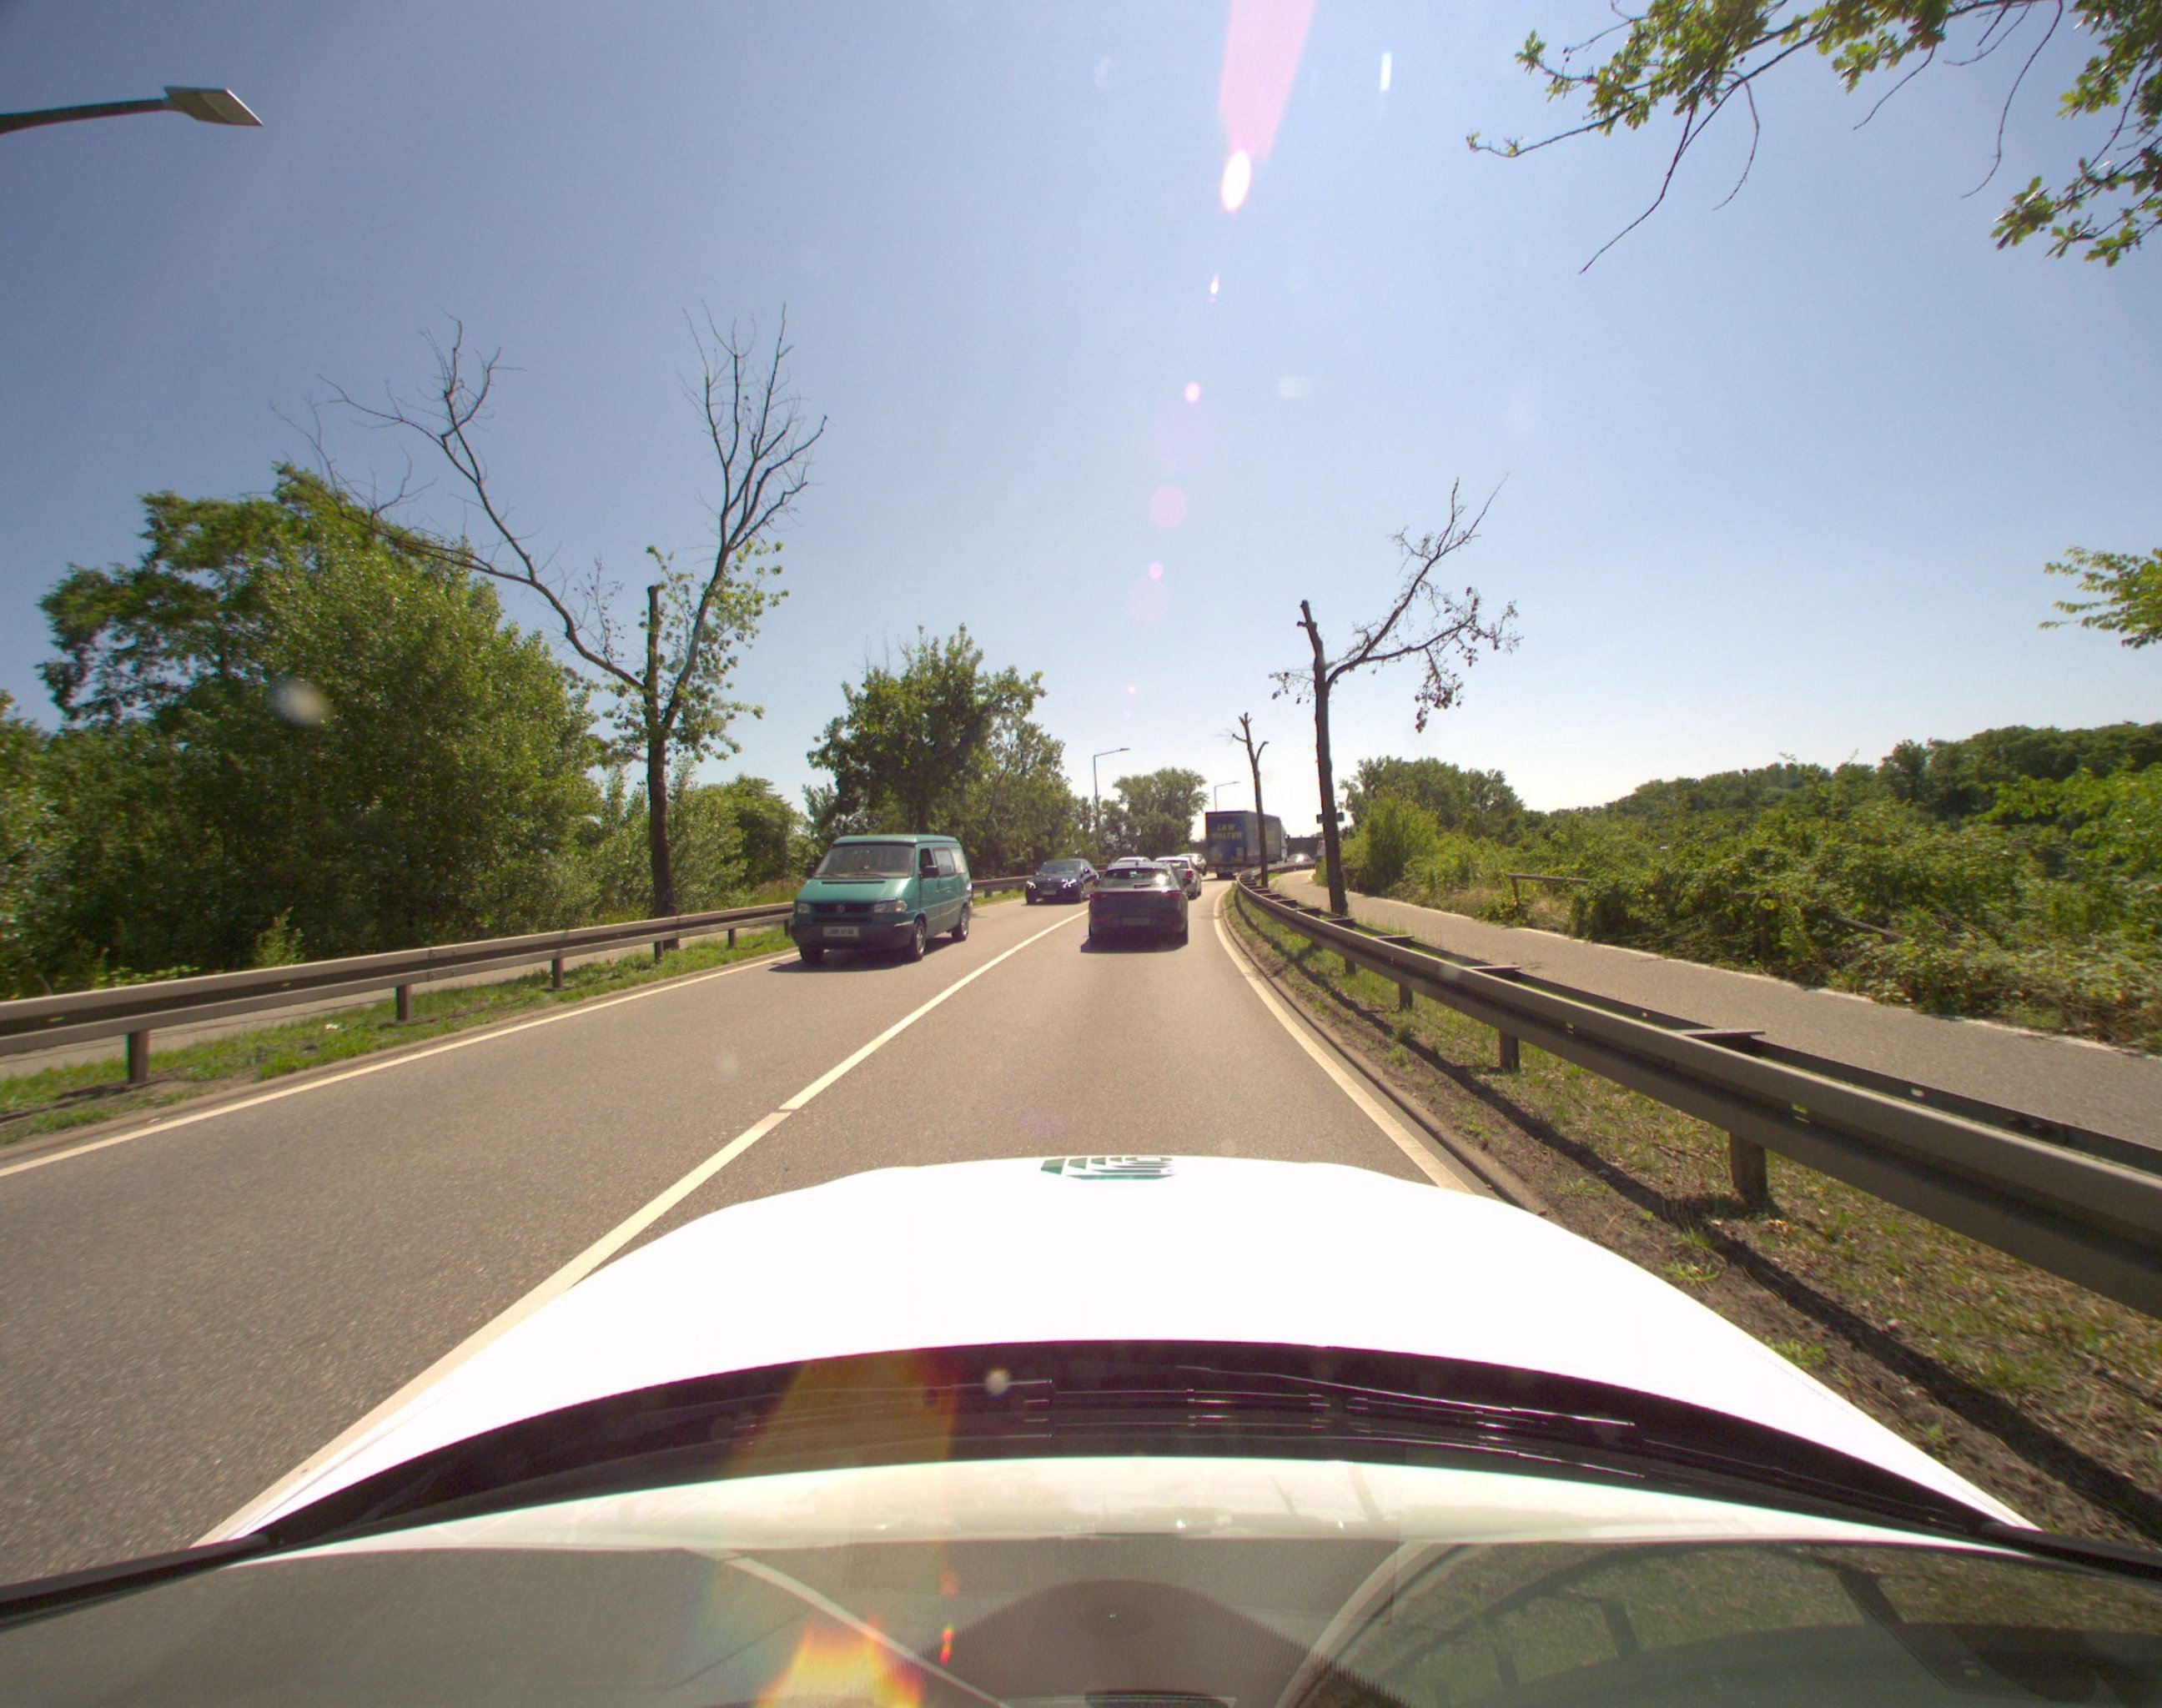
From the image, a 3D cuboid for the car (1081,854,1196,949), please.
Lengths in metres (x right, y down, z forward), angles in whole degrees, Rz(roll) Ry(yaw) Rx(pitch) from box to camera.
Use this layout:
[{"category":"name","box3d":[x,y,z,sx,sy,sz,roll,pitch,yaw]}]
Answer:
[{"category":"car","box3d":[1.064,0.782,15.206,1.837,1.499,3.762,-2,0,4]}]

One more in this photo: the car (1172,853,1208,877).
[{"category":"car","box3d":[7.573,0.707,56.101,1.732,1.546,4.412,-2,0,17]}]

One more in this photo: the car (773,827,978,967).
[{"category":"car","box3d":[-3.223,0.620,13.906,1.821,1.938,4.783,-2,0,6]}]

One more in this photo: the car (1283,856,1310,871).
[{"category":"car","box3d":[21.912,0.933,82.710,1.740,1.442,4.594,-1,-1,25]}]

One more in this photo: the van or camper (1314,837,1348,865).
[{"category":"van or camper","box3d":[25.332,-0.318,82.349,2.182,2.711,5.961,-2,0,27]}]

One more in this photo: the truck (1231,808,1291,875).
[{"category":"truck","box3d":[13.407,-0.830,60.285,3.143,4.585,7.435,-1,-1,21]}]

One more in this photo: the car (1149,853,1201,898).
[{"category":"car","box3d":[3.332,0.723,28.481,1.583,1.461,3.554,-1,0,10]}]

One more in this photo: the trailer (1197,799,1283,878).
[{"category":"trailer","box3d":[10.806,-0.871,53.840,3.107,4.614,13.017,-1,0,22]}]

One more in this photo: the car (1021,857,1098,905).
[{"category":"car","box3d":[-0.639,0.860,28.159,1.835,1.467,4.752,-1,0,8]}]

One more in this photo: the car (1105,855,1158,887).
[{"category":"car","box3d":[2.540,0.807,39.681,1.688,1.447,4.478,-1,0,15]}]
